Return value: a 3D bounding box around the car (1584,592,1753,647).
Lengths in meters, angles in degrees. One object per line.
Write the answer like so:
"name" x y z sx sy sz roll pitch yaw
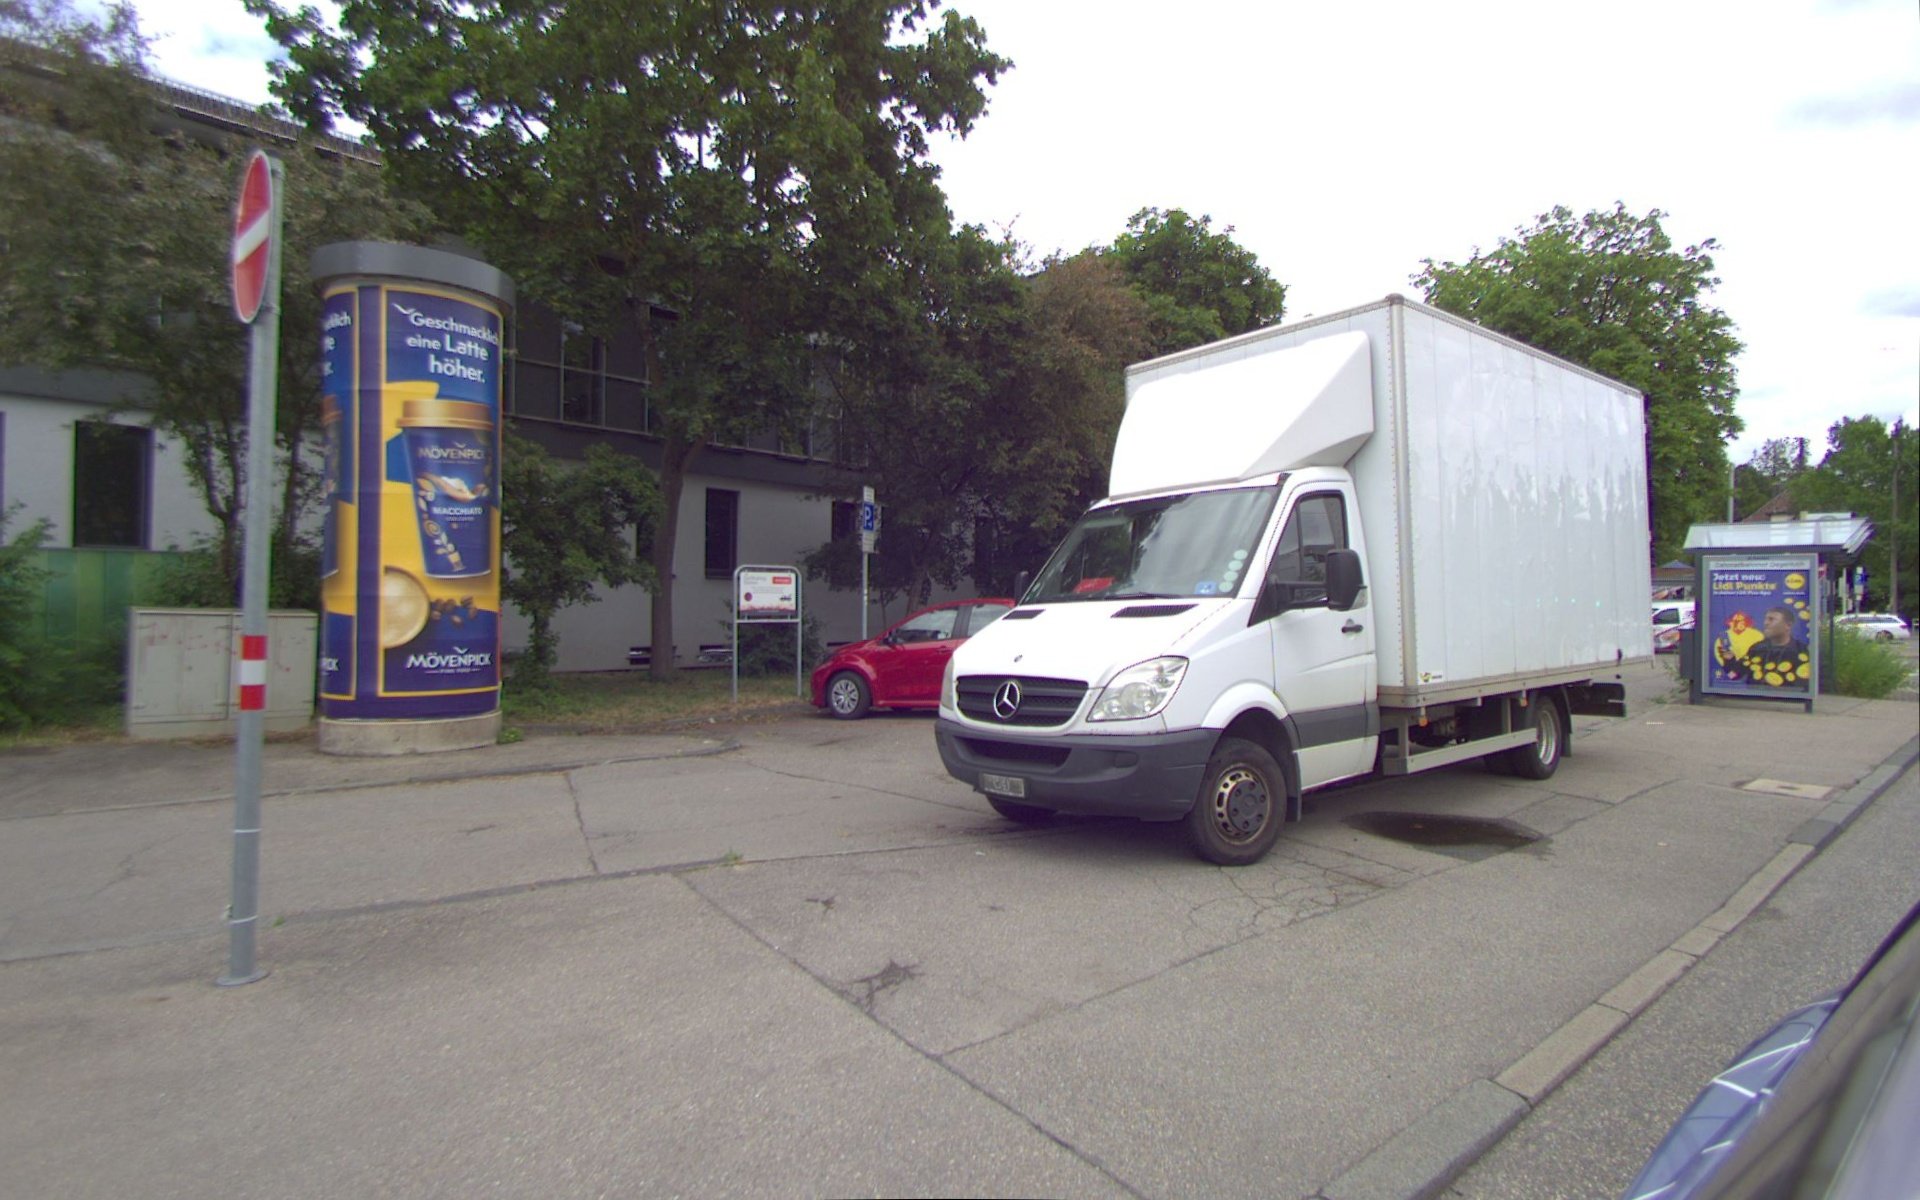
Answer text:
"car" 24.329 0.652 34.855 4.602 1.771 1.853 1 0 -4

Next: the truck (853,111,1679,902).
"truck" 3.060 -0.414 8.053 7.672 3.570 2.578 1 0 -41

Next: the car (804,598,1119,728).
"car" 0.027 0.729 12.838 3.686 1.464 1.595 0 -2 23

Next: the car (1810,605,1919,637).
"car" 47.163 1.049 52.256 4.604 1.556 1.901 1 0 24
